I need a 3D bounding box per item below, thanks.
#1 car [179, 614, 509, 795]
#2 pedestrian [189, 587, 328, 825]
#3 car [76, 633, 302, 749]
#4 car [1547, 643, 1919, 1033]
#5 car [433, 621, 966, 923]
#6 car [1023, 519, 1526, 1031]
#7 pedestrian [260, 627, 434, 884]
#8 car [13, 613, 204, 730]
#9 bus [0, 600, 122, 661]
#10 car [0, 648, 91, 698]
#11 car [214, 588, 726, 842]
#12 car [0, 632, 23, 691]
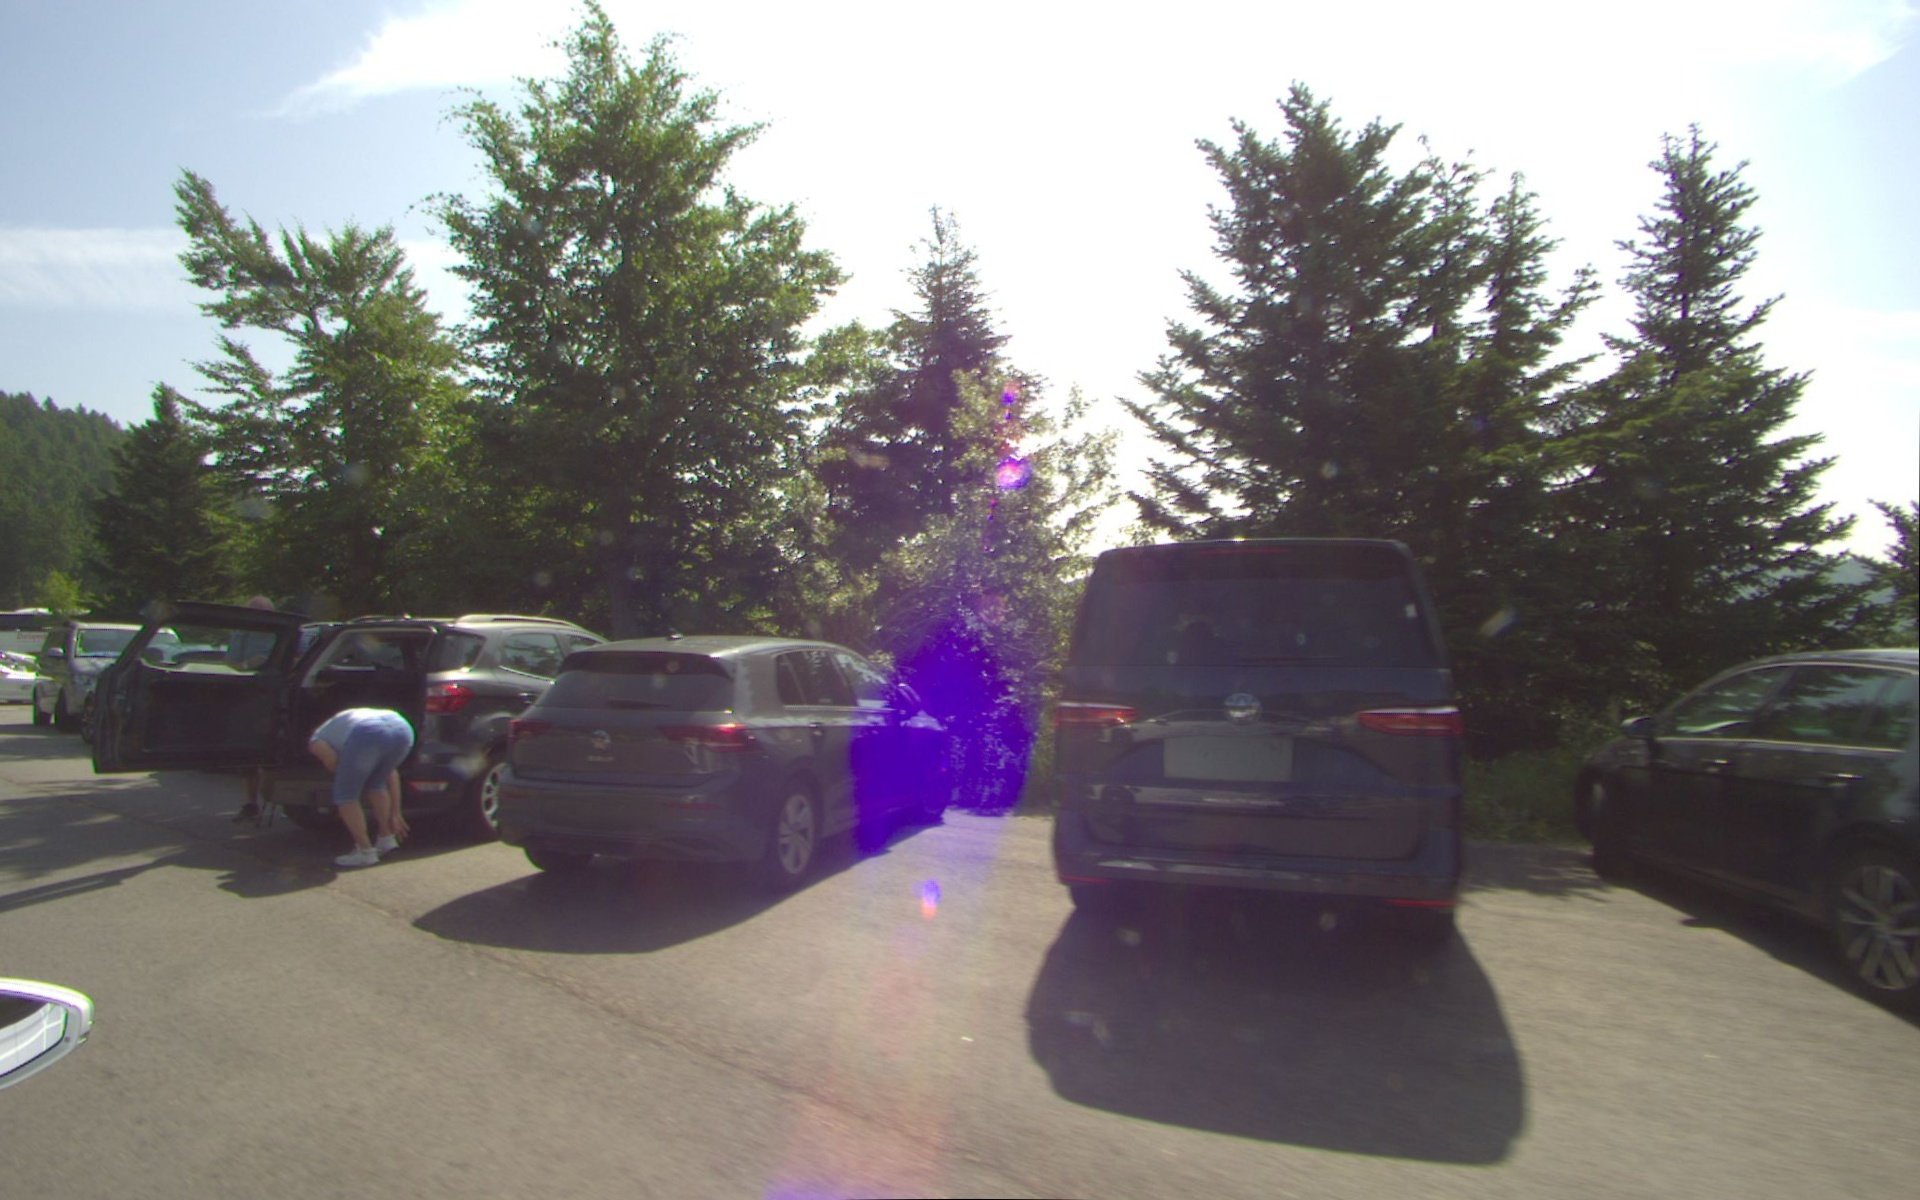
[{"bbox_3d":[-6.992,1.081,11.215,4.256,1.651,1.739,-2,-5,38],"label":"car"},{"bbox_3d":[-5.531,0.812,7.916,0.571,1.782,0.632,0,-3,23],"label":"pedestrian"},{"bbox_3d":[-11.745,1.334,15.179,3.999,1.536,1.675,-2,-5,37],"label":"car"},{"bbox_3d":[4.621,0.955,4.902,1.711,1.432,4.001,1,-2,10],"label":"car"},{"bbox_3d":[-1.420,0.953,7.141,1.807,1.461,3.997,1,-3,18],"label":"car"},{"bbox_3d":[1.999,0.760,6.317,1.932,1.903,4.767,0,-3,20],"label":"car"},{"bbox_3d":[-3.799,0.903,6.215,0.662,1.422,0.768,2,3,45],"label":"pedestrian"},{"bbox_3d":[-16.516,1.336,19.345,4.761,1.996,1.899,-1,-5,39],"label":"car"},{"bbox_3d":[-59.684,1.807,61.155,12.738,3.626,2.960,1,1,-35],"label":"bus"},{"bbox_3d":[-26.283,1.922,26.676,1.555,1.314,4.462,1,-5,23],"label":"car"},{"bbox_3d":[-3.855,0.934,8.819,1.962,1.681,4.004,0,-5,11],"label":"car"},{"bbox_3d":[-30.234,1.721,29.061,1.971,1.720,3.985,1,-4,31],"label":"car"}]
